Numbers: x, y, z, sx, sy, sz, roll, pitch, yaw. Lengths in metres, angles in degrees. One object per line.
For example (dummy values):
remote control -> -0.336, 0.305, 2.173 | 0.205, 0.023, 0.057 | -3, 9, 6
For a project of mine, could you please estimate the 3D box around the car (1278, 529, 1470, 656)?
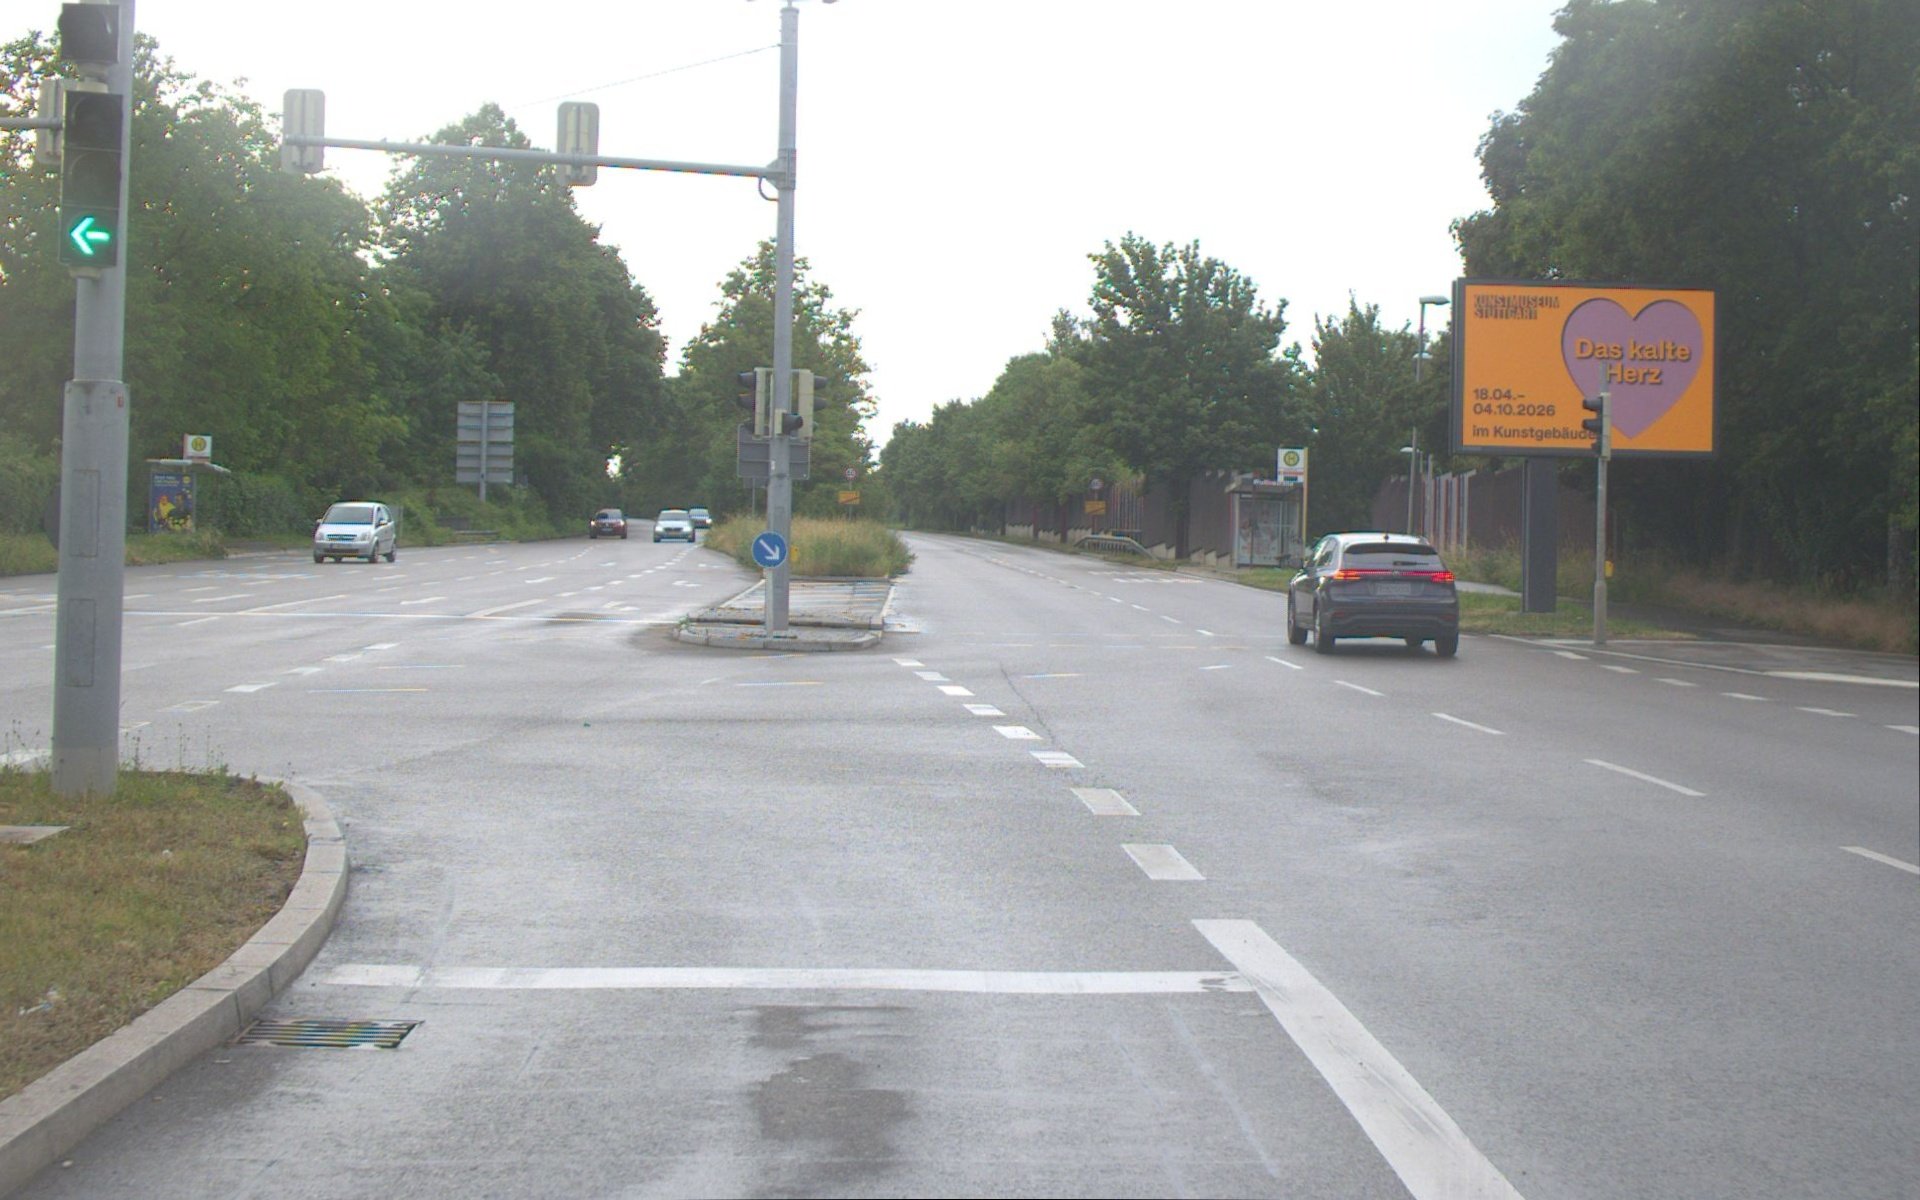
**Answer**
car -> 5.153, -0.136, 43.305 | 1.744, 1.465, 4.166 | 2, 1, -2

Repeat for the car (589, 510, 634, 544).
car -> -17.381, -3.654, 171.476 | 1.893, 1.590, 4.489 | 2, 1, -2

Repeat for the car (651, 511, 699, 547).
car -> -12.896, -3.211, 155.796 | 1.893, 1.529, 4.489 | 2, 1, -2

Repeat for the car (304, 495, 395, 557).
car -> -16.552, -2.017, 93.354 | 1.768, 1.590, 4.489 | 2, 1, -2
